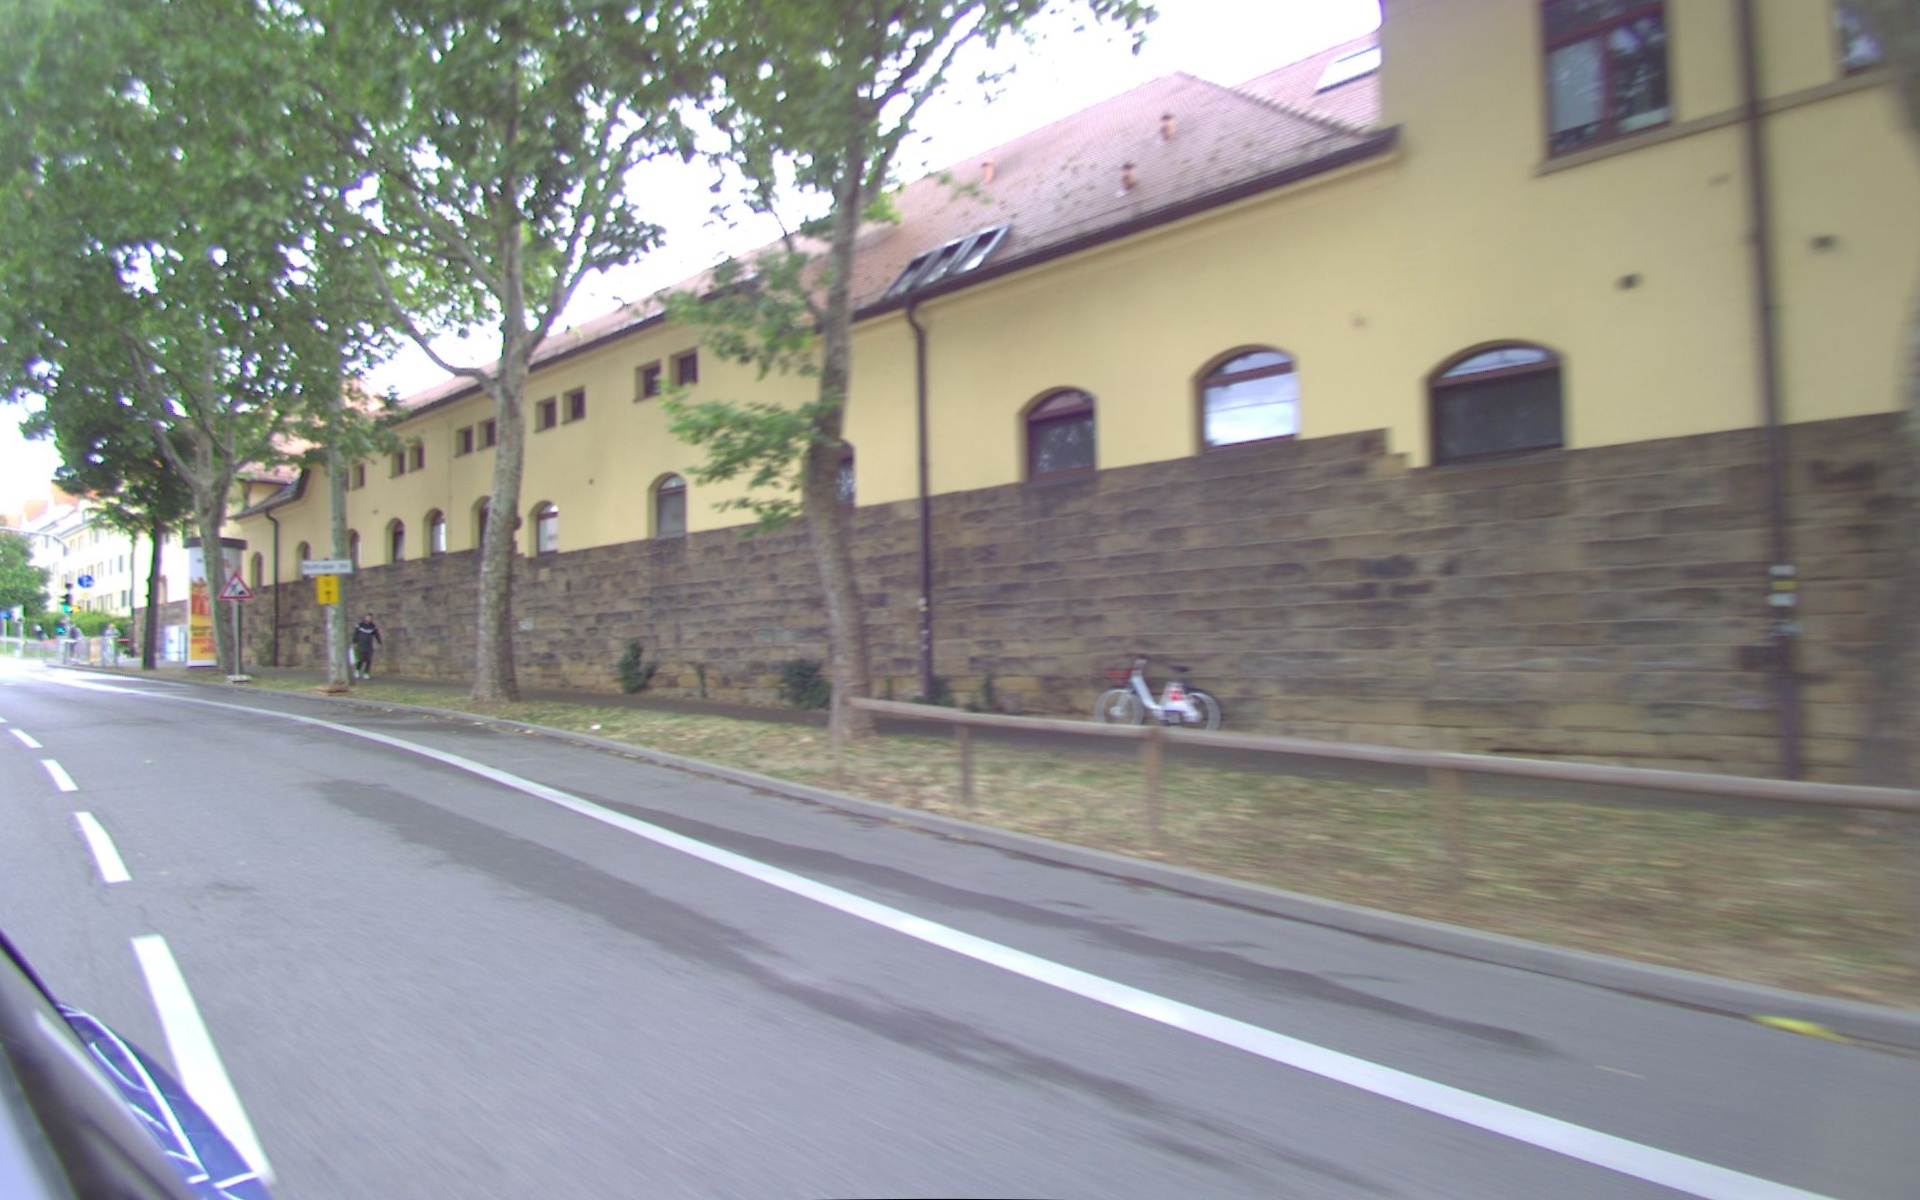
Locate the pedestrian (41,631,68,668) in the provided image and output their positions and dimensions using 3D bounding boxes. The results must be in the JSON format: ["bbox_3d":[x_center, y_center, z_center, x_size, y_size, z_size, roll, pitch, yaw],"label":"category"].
[{"bbox_3d":[-42.377,2.306,47.367,0.931,1.699,0.843,0,0,41],"label":"pedestrian"}]

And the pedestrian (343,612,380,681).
[{"bbox_3d":[-16.491,1.267,27.884,0.815,1.890,0.664,-2,-2,41],"label":"pedestrian"}]

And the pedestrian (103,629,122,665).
[{"bbox_3d":[-40.556,2.258,48.420,0.549,1.674,0.617,-1,0,41],"label":"pedestrian"}]

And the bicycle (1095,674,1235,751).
[{"bbox_3d":[2.537,1.384,12.700,1.774,0.852,0.332,-1,-2,40],"label":"bicycle"}]

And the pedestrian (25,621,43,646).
[{"bbox_3d":[-78.950,2.849,86.320,1.096,2.005,1.029,0,0,41],"label":"pedestrian"}]
